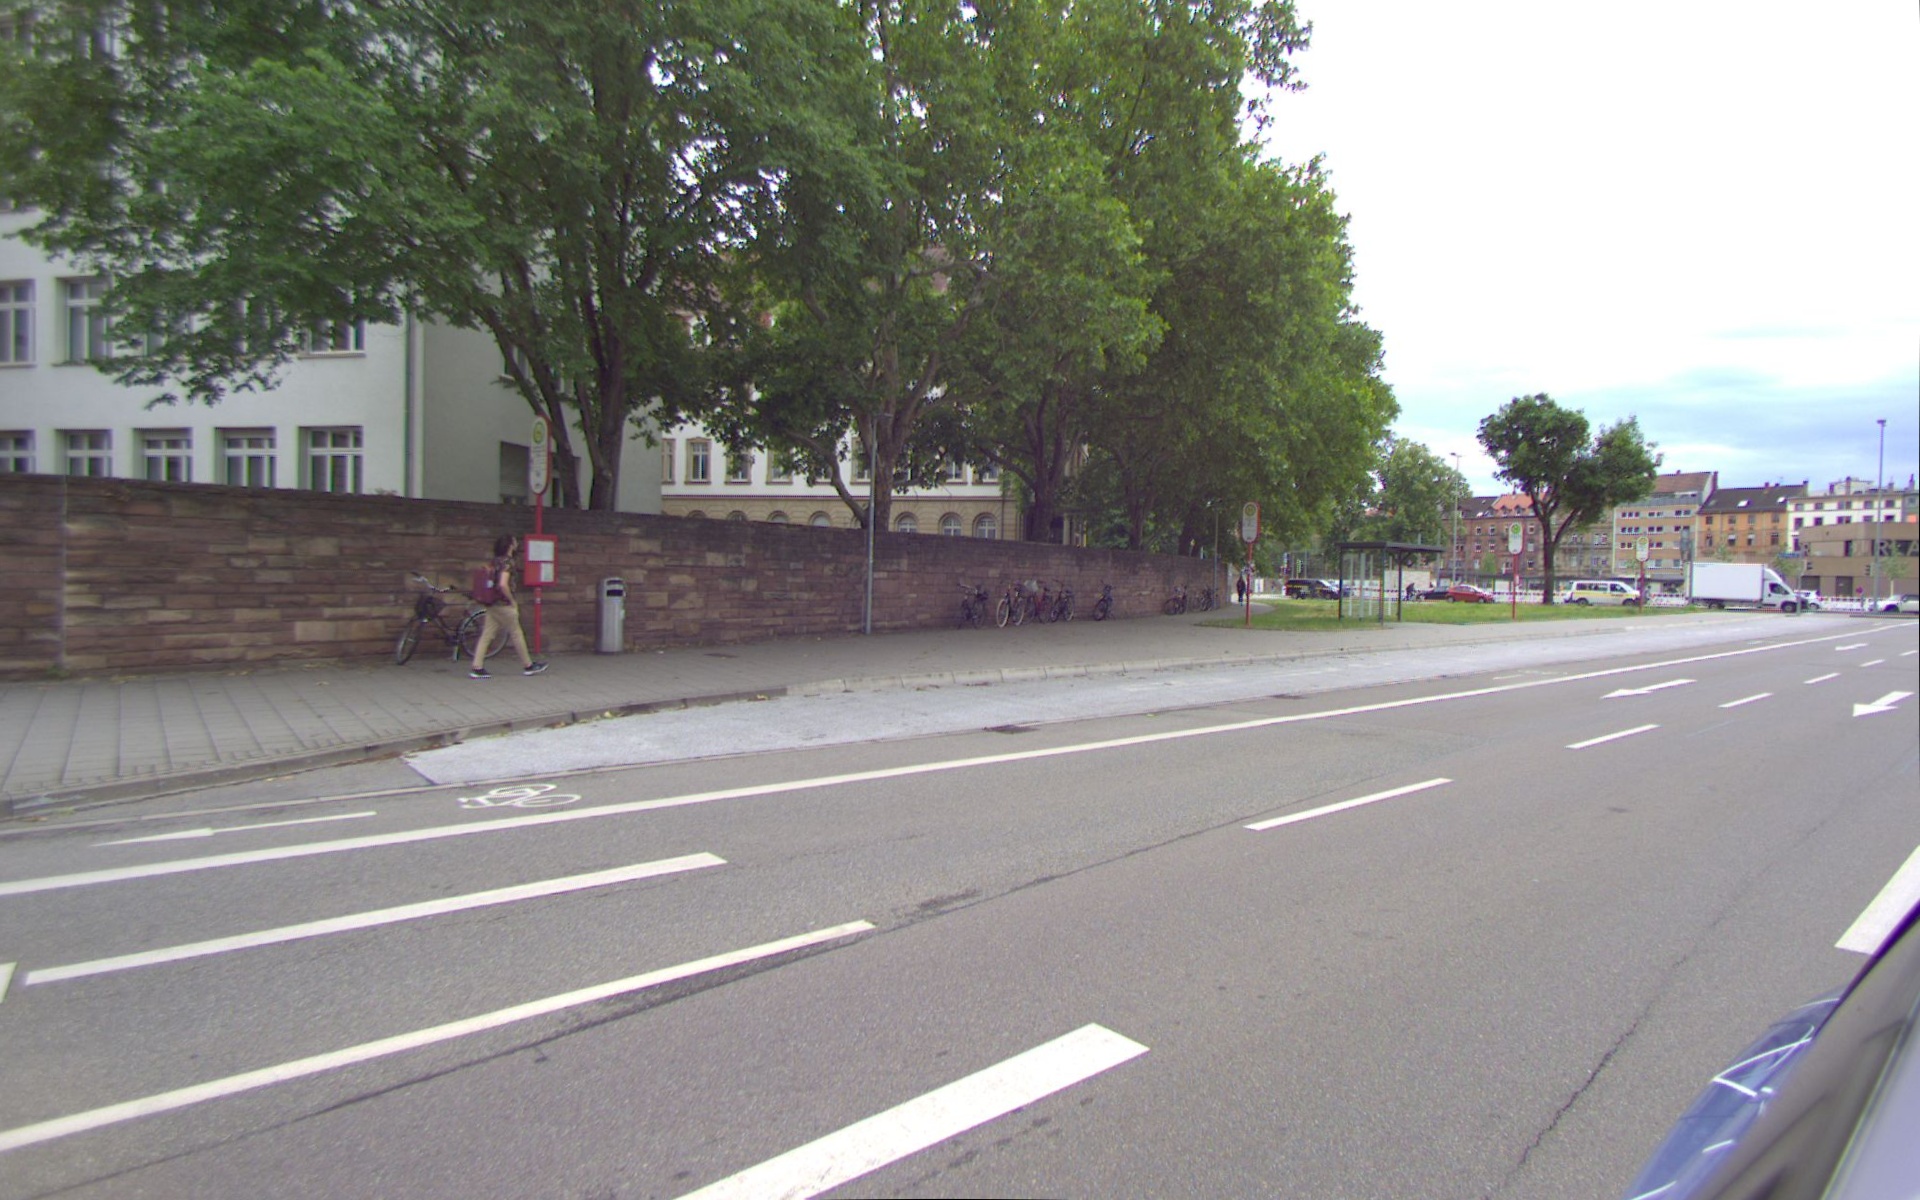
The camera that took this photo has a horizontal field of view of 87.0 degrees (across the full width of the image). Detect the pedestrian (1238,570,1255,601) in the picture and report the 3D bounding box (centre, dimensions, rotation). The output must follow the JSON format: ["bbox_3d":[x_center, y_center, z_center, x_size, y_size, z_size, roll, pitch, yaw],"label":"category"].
[{"bbox_3d":[16.358,-0.832,57.760,0.745,1.756,0.821,3,2,10],"label":"pedestrian"}]

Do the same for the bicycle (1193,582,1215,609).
[{"bbox_3d":[10.316,-0.187,42.783,0.589,1.072,1.700,3,2,23],"label":"bicycle"}]

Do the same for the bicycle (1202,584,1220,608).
[{"bbox_3d":[11.003,-0.191,44.353,0.544,1.004,1.626,3,2,20],"label":"bicycle"}]

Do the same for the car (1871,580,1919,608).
[{"bbox_3d":[65.101,-0.360,69.052,3.856,1.785,1.831,3,2,16],"label":"car"}]

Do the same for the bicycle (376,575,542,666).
[{"bbox_3d":[-6.949,0.239,14.123,0.845,1.141,1.900,4,3,34],"label":"bicycle"}]

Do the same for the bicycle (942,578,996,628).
[{"bbox_3d":[0.240,0.052,24.117,0.712,1.113,1.781,3,2,20],"label":"bicycle"}]

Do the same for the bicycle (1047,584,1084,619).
[{"bbox_3d":[3.023,0.041,28.809,0.414,0.954,1.508,3,2,31],"label":"bicycle"}]

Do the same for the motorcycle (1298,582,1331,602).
[{"bbox_3d":[31.109,-0.714,88.898,2.501,1.621,0.917,4,3,37],"label":"motorcycle"}]

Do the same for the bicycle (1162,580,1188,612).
[{"bbox_3d":[8.122,-0.154,38.157,0.589,1.150,1.700,3,2,23],"label":"bicycle"}]

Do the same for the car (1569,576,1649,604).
[{"bbox_3d":[48.089,-0.788,75.069,1.890,1.942,4.704,-4,4,-44],"label":"car"}]

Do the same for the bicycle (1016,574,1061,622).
[{"bbox_3d":[2.120,-0.078,27.308,0.497,1.236,1.609,3,2,31],"label":"bicycle"}]

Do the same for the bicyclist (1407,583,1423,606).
[{"bbox_3d":[37.248,-0.462,82.890,0.893,1.883,0.753,4,3,43],"label":"bicyclist"}]

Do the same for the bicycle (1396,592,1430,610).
[{"bbox_3d":[37.153,0.041,82.971,2.384,1.340,0.753,4,3,44],"label":"bicycle"}]

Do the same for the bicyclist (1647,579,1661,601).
[{"bbox_3d":[48.627,-0.699,70.898,0.737,1.526,0.757,4,2,39],"label":"bicyclist"}]

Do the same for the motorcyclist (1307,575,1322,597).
[{"bbox_3d":[31.118,-1.212,88.871,0.913,1.851,0.917,4,2,37],"label":"motorcyclist"}]

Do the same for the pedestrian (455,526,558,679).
[{"bbox_3d":[-5.738,0.016,12.819,1.014,1.844,0.632,1,2,-41],"label":"pedestrian"}]

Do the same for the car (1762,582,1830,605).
[{"bbox_3d":[58.910,-0.460,71.394,3.405,1.407,1.502,4,3,31],"label":"car"}]

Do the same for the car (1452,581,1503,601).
[{"bbox_3d":[41.843,-0.755,81.910,3.422,1.399,1.266,2,-6,44],"label":"car"}]

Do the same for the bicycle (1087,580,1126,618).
[{"bbox_3d":[4.434,-0.046,30.617,0.593,1.118,1.638,3,2,29],"label":"bicycle"}]

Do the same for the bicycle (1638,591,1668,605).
[{"bbox_3d":[48.569,-0.141,70.934,1.687,0.926,0.757,4,3,39],"label":"bicycle"}]

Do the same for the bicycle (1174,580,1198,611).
[{"bbox_3d":[8.876,-0.196,39.704,0.589,1.143,1.700,3,2,23],"label":"bicycle"}]

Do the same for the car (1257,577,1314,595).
[{"bbox_3d":[29.600,-1.281,92.118,4.504,1.430,1.874,4,3,36],"label":"car"}]

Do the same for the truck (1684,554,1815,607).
[{"bbox_3d":[53.799,-1.375,69.085,6.835,3.453,2.520,1,3,45],"label":"truck"}]

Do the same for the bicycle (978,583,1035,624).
[{"bbox_3d":[1.199,0.076,25.754,0.650,0.963,1.751,3,2,31],"label":"bicycle"}]

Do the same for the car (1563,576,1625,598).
[{"bbox_3d":[50.263,-1.063,80.241,4.009,1.493,1.797,4,3,36],"label":"car"}]
